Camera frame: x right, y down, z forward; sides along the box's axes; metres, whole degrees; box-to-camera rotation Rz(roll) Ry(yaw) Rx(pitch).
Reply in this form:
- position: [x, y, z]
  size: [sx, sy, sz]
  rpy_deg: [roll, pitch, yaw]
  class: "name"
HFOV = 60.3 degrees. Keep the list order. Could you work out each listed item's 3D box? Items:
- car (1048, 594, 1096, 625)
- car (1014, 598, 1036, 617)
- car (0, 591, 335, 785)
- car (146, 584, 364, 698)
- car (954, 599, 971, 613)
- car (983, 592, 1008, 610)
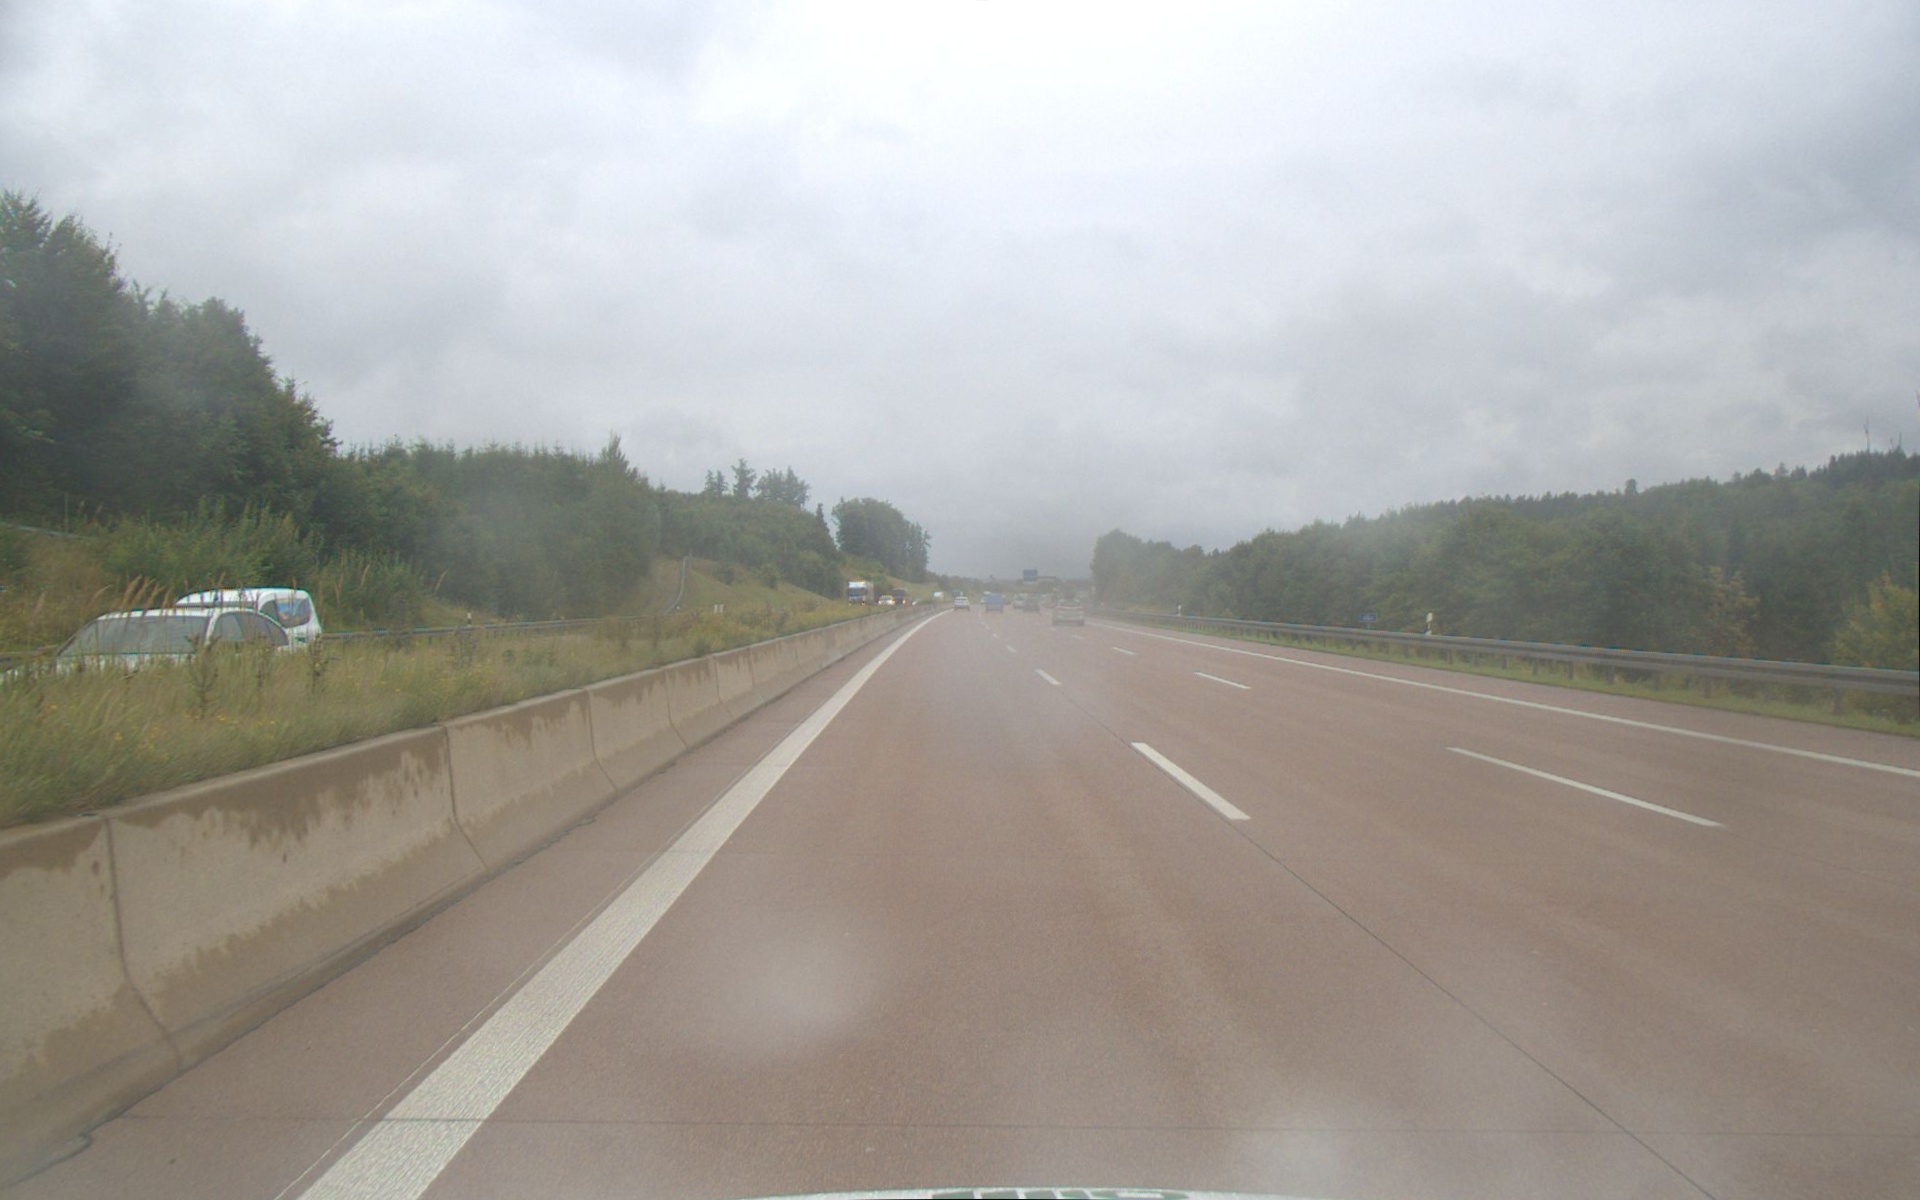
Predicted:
- position: [6.748, 0.596, 100.088]
  size: [2.276, 1.780, 4.873]
  rpy_deg: [1, -1, -4]
  class: "car"
- position: [7.131, 0.813, 180.821]
  size: [1.954, 2.049, 3.996]
  rpy_deg: [1, -1, -4]
  class: "car"
- position: [-8.015, 0.808, 16.782]
  size: [1.644, 1.676, 4.444]
  rpy_deg: [1, -1, 0]
  class: "car"
- position: [-12.001, 0.689, 28.530]
  size: [1.698, 1.752, 4.761]
  rpy_deg: [1, -1, 0]
  class: "car"
- position: [0.309, 0.674, 190.944]
  size: [1.836, 1.470, 4.876]
  rpy_deg: [1, -1, -1]
  class: "car"
- position: [3.751, 0.129, 175.719]
  size: [2.276, 1.780, 4.872]
  rpy_deg: [1, -1, -4]
  class: "car"
